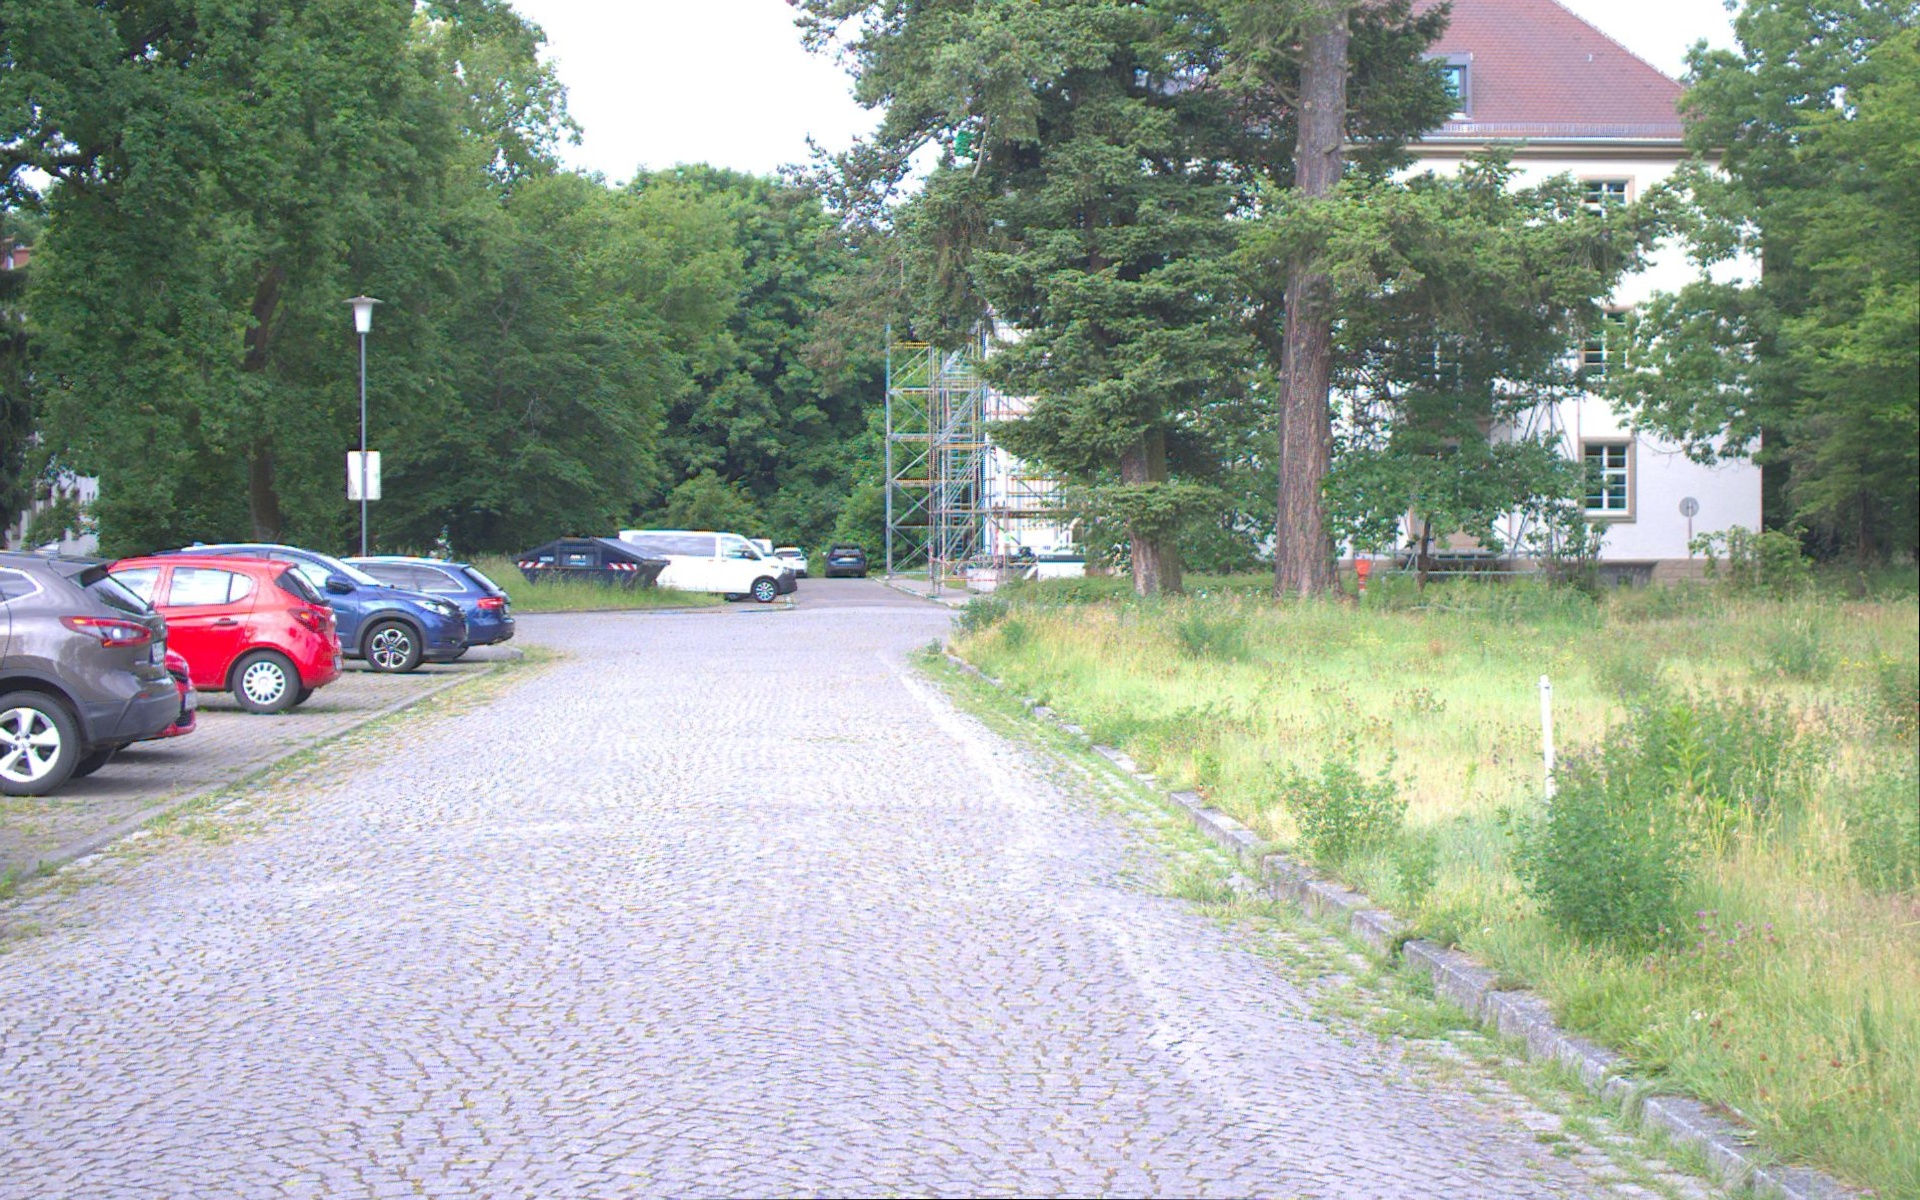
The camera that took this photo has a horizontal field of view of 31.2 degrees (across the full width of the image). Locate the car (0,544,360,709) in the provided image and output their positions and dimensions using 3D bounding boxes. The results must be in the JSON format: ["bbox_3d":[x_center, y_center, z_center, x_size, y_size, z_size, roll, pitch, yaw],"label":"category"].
[{"bbox_3d":[-7.939,0.232,33.193,4.054,1.520,1.905,0,1,-4],"label":"car"}]

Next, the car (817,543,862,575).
[{"bbox_3d":[-5.734,-1.940,163.521,1.951,1.516,4.001,0,1,-4],"label":"car"}]

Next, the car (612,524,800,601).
[{"bbox_3d":[-7.192,-1.068,97.085,5.233,2.160,2.000,0,1,-5],"label":"car"}]

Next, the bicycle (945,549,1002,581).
[{"bbox_3d":[0.532,-1.391,136.260,2.240,1.250,0.634,0,1,-1],"label":"bicycle"}]

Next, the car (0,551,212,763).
[{"bbox_3d":[-7.810,0.401,25.560,4.165,1.505,1.908,0,1,-4],"label":"car"}]

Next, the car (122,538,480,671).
[{"bbox_3d":[-8.267,0.044,43.401,4.227,1.571,1.887,1,1,-4],"label":"car"}]

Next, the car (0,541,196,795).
[{"bbox_3d":[-7.326,0.424,22.838,4.165,1.616,1.987,0,1,-5],"label":"car"}]

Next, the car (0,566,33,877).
[{"bbox_3d":[-6.758,0.606,16.567,4.165,1.505,1.782,0,1,-5],"label":"car"}]

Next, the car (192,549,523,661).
[{"bbox_3d":[-8.390,0.053,48.159,4.302,1.456,1.975,1,1,-1],"label":"car"}]

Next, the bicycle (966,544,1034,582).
[{"bbox_3d":[1.330,-1.236,114.717,2.240,1.250,0.778,0,1,-1],"label":"bicycle"}]

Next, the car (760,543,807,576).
[{"bbox_3d":[-8.393,-1.914,163.101,2.118,1.516,4.001,0,1,-4],"label":"car"}]
